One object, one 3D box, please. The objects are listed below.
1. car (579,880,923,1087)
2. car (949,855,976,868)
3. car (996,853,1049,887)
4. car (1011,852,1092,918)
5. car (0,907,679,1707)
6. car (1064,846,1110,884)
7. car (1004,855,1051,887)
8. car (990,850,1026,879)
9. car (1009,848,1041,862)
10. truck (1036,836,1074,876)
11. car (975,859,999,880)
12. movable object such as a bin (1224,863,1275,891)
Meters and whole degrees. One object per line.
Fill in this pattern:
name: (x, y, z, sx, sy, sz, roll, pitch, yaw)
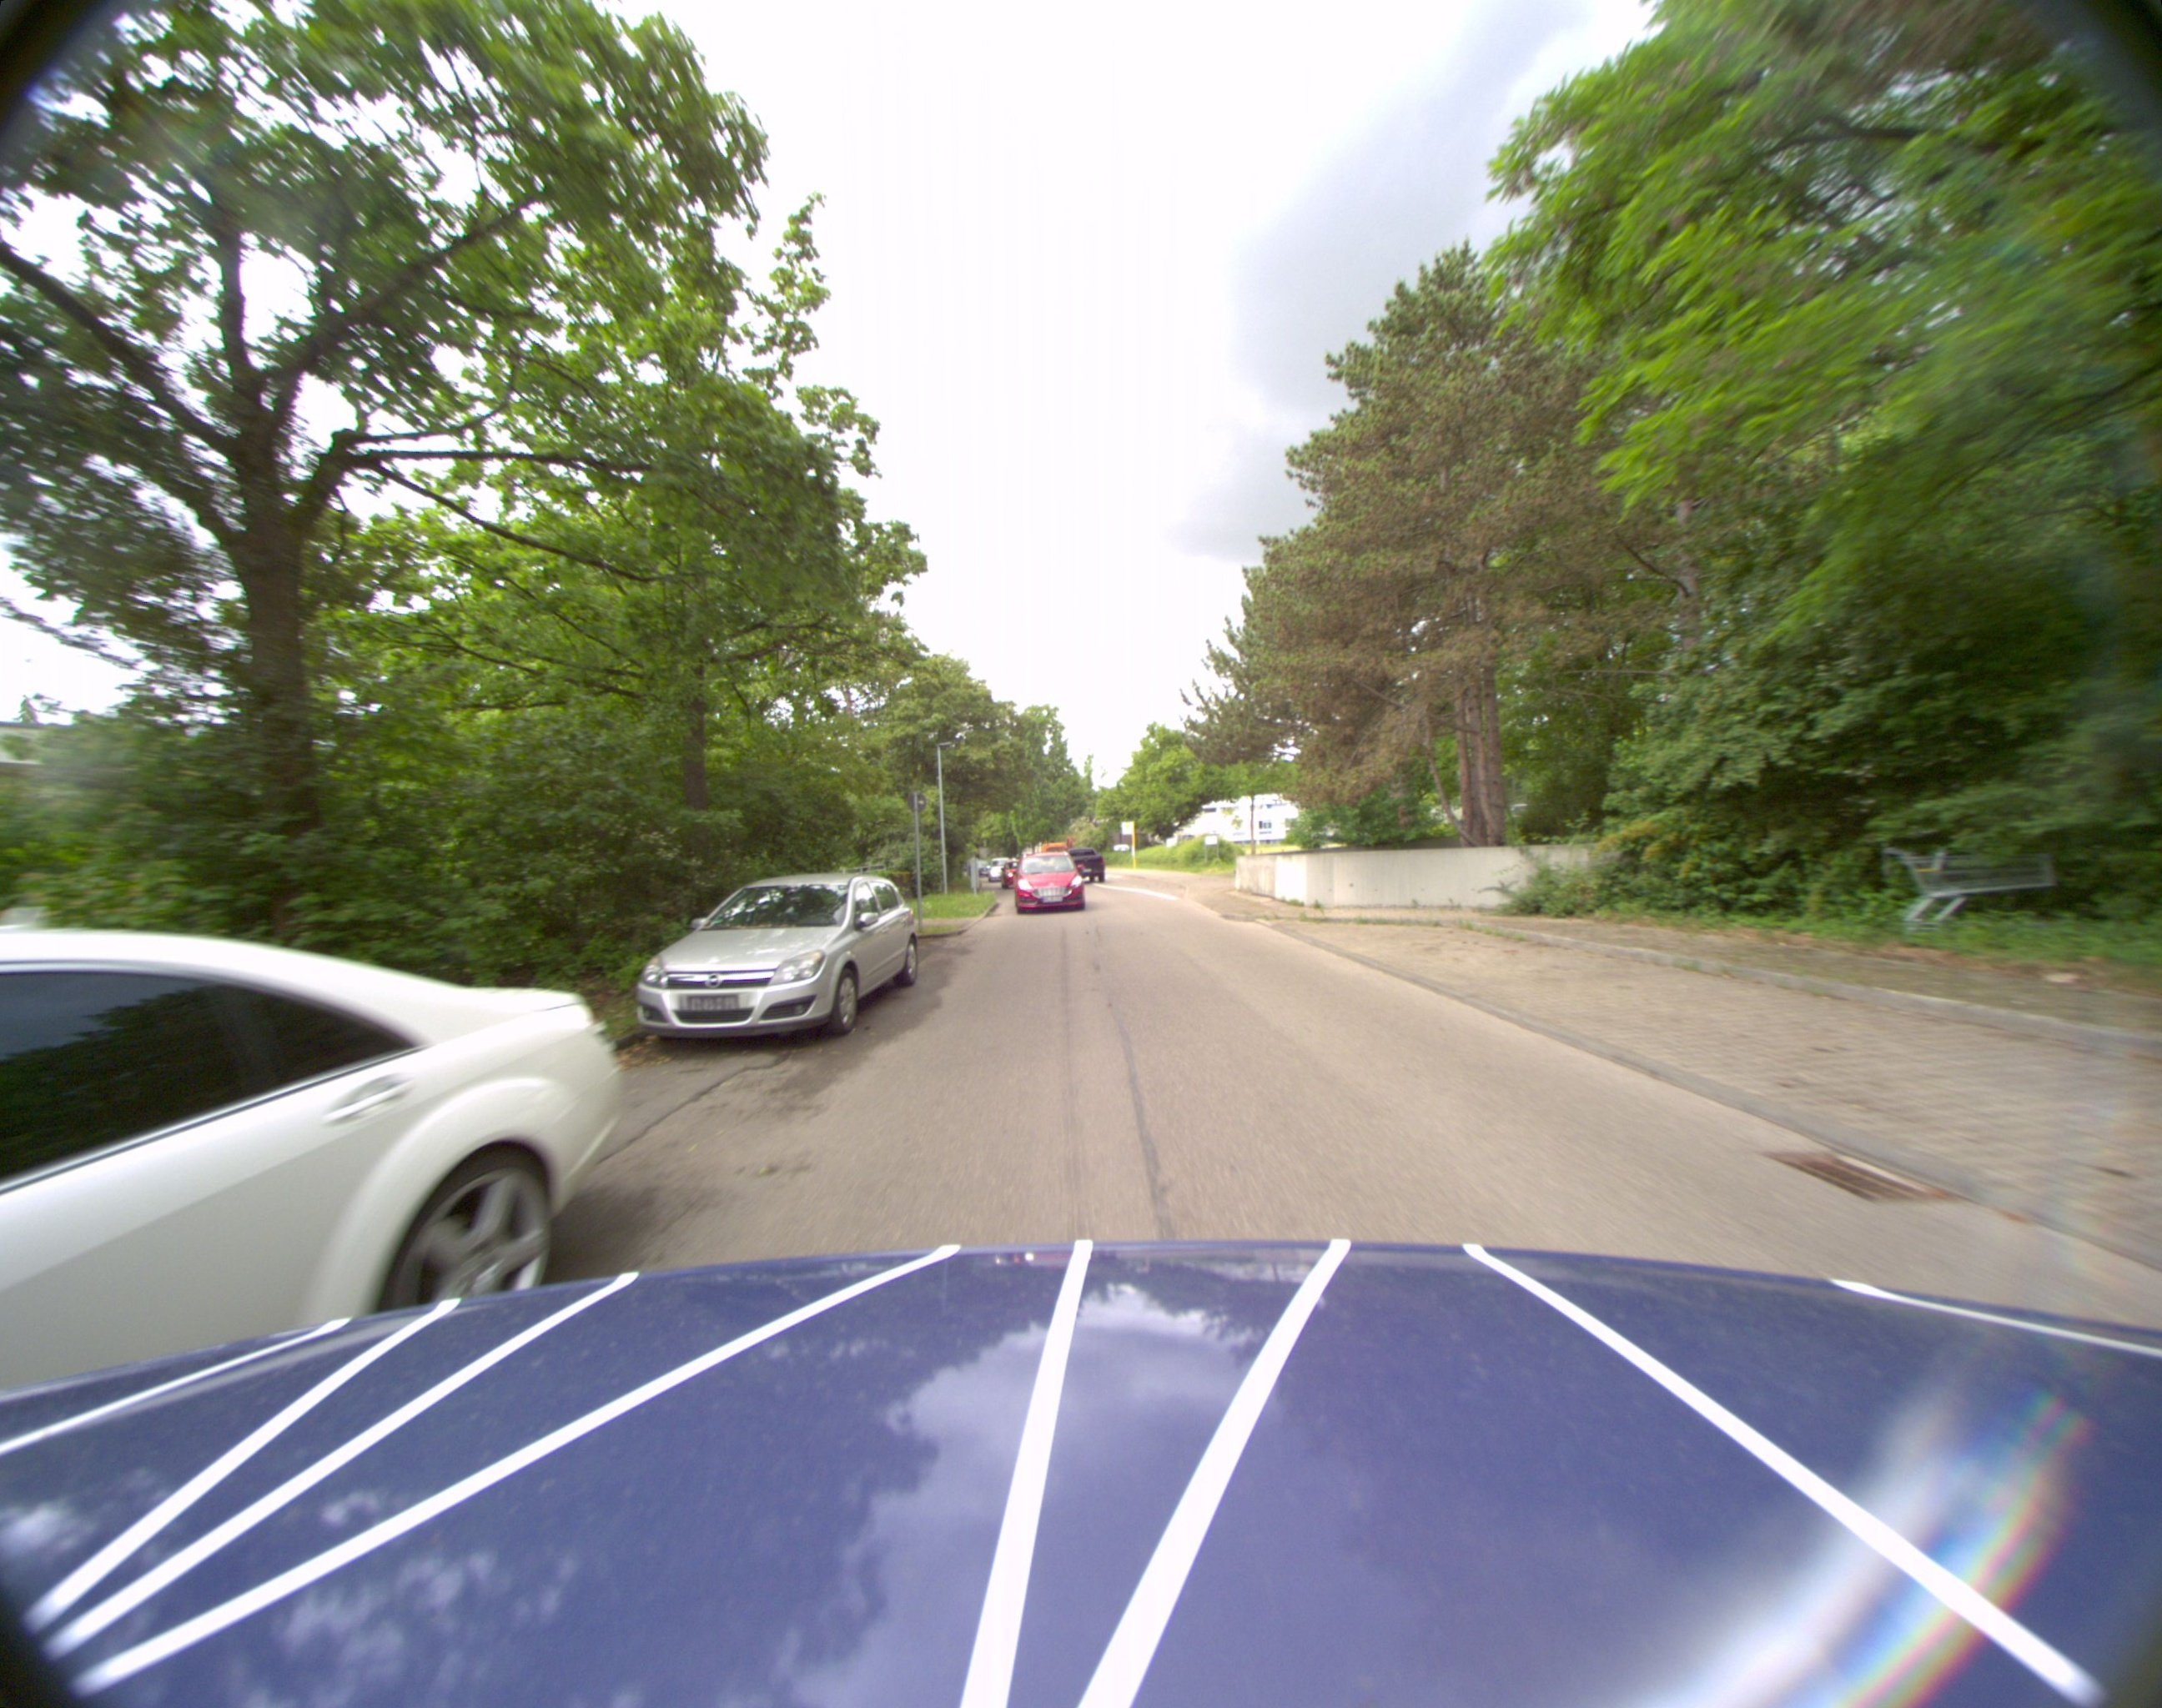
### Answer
car: (-3.000, 1.080, 7.977, 1.797, 1.403, 4.058, -2, 0, 0)
car: (-15.414, 1.028, 98.849, 1.856, 1.483, 3.991, -4, 1, -33)
car: (-3.080, 0.810, 39.246, 1.949, 1.523, 4.081, -5, 1, -15)
car: (-0.958, 0.799, 21.928, 1.946, 1.550, 4.352, -4, 1, -6)
car: (-2.726, 1.028, 0.816, 1.891, 1.498, 5.175, -2, 0, -1)
car: (0.234, 0.515, 38.992, 1.999, 1.725, 5.335, -3, 1, -3)
car: (-2.829, 0.818, 39.172, 2.000, 1.503, 3.996, -2, 0, -10)
car: (-5.041, 0.692, 52.070, 2.000, 1.685, 3.996, -5, 2, -10)
car: (-7.744, 0.123, 104.484, 3.803, 1.629, 2.002, -4, 2, 24)
truck: (-1.824, 0.149, 53.537, 2.328, 2.455, 6.019, -4, 0, -2)
car: (-8.783, 1.397, 70.476, 2.000, 1.663, 3.996, -5, 2, -8)
movable object such as a bin: (5.300, 0.712, 23.923, 1.149, 0.756, 1.046, -6, 2, -39)
